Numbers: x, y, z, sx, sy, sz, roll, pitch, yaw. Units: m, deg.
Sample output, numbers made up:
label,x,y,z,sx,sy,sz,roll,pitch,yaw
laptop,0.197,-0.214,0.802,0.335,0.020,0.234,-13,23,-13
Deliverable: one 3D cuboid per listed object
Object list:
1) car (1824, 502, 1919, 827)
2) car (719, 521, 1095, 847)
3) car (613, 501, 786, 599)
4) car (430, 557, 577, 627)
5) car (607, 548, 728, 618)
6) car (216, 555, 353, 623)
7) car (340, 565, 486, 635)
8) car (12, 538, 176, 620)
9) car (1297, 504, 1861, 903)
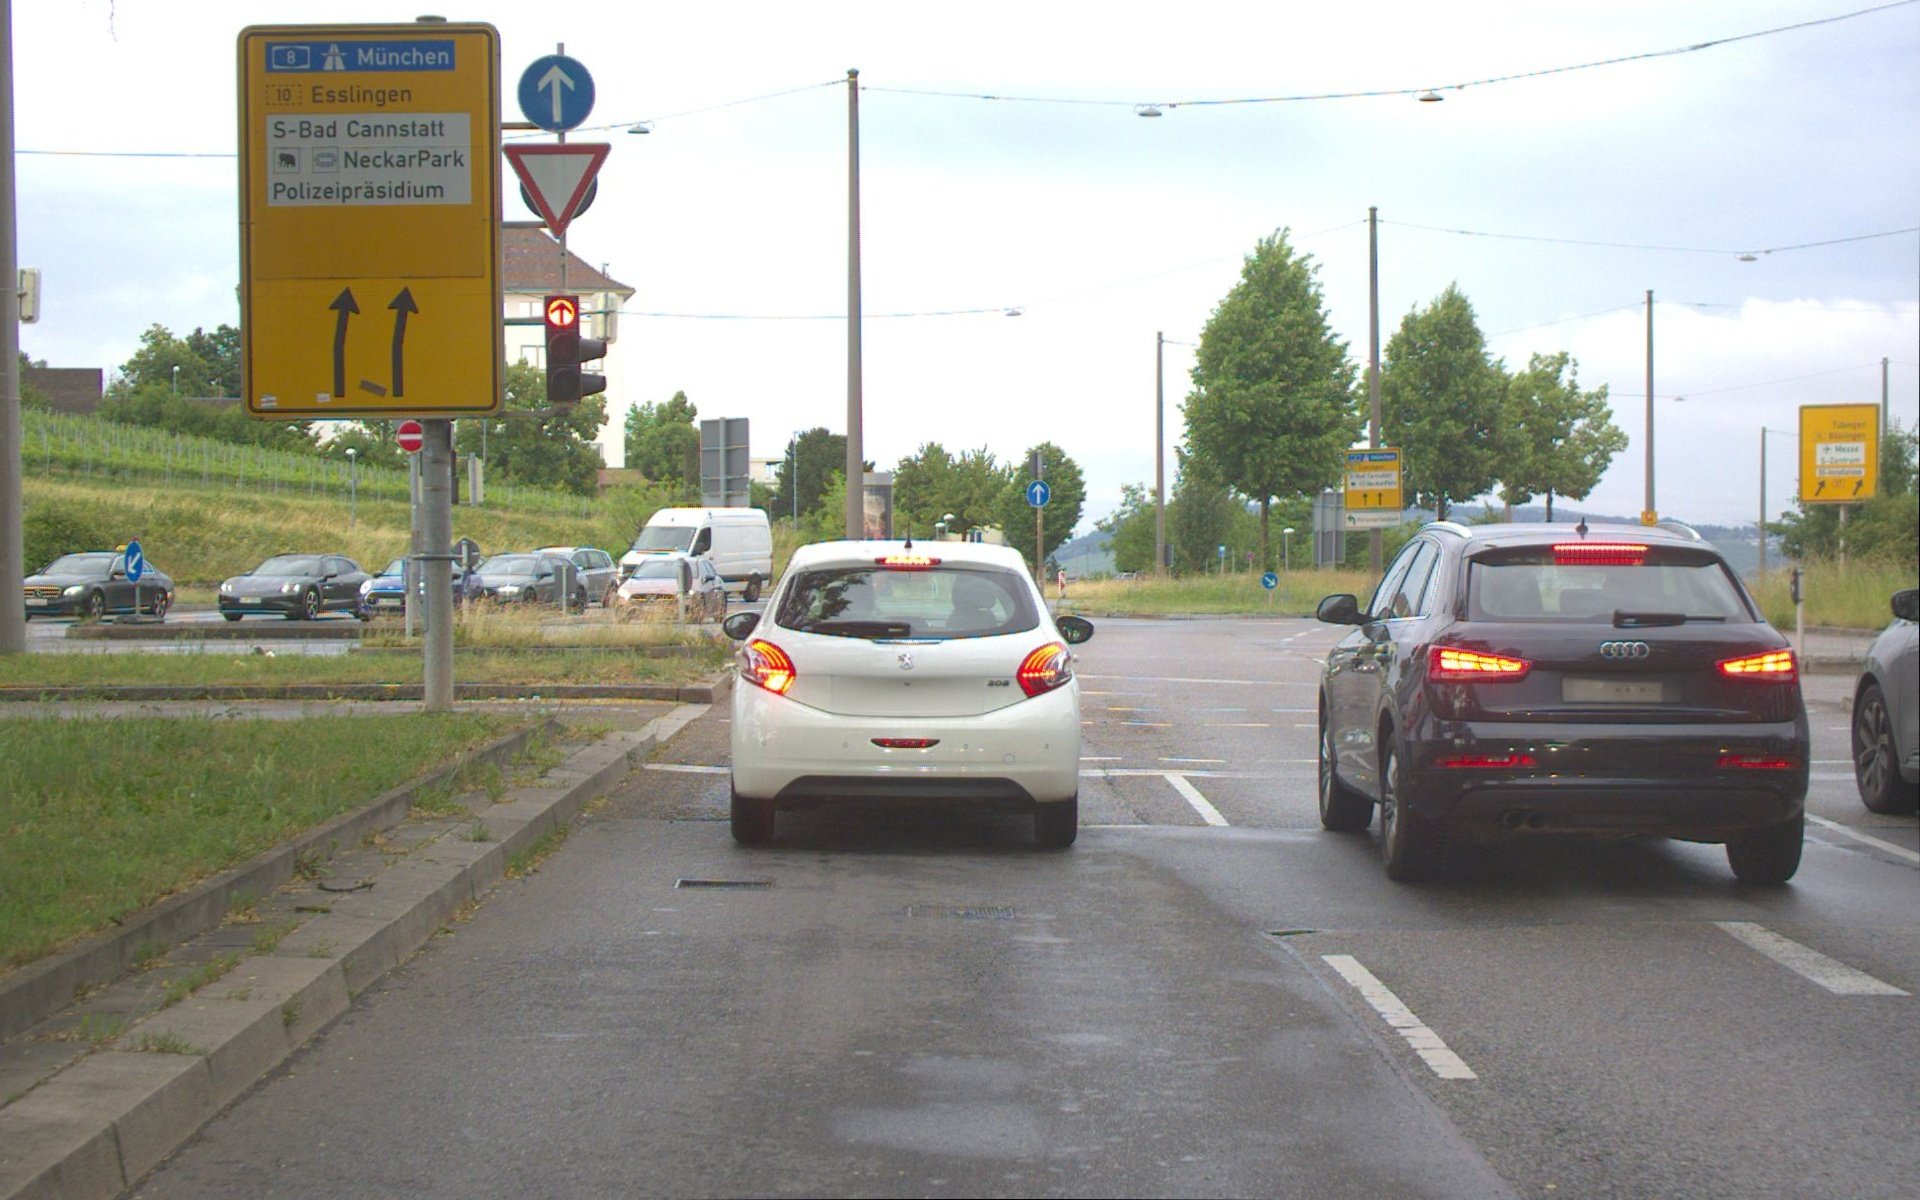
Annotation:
label,x,y,z,sx,sy,sz,roll,pitch,yaw
car,5.884,0.357,17.240,1.865,1.668,4.566,1,2,-1
car,-0.254,0.374,17.893,1.718,1.484,4.000,1,0,0
car,-7.185,-1.350,95.652,1.996,2.550,6.161,2,0,25
car,-10.349,-0.180,78.228,1.902,1.484,4.890,2,0,10
car,-6.143,-0.358,72.625,1.776,1.420,4.373,0,0,6
car,-14.504,-0.220,73.987,1.787,1.391,3.881,1,0,6
car,-11.406,0.018,71.941,1.787,1.391,3.880,1,0,10
car,-18.257,-0.434,72.658,1.830,1.618,4.565,2,0,6
car,2.760,0.414,16.273,1.884,1.590,4.113,2,0,0
